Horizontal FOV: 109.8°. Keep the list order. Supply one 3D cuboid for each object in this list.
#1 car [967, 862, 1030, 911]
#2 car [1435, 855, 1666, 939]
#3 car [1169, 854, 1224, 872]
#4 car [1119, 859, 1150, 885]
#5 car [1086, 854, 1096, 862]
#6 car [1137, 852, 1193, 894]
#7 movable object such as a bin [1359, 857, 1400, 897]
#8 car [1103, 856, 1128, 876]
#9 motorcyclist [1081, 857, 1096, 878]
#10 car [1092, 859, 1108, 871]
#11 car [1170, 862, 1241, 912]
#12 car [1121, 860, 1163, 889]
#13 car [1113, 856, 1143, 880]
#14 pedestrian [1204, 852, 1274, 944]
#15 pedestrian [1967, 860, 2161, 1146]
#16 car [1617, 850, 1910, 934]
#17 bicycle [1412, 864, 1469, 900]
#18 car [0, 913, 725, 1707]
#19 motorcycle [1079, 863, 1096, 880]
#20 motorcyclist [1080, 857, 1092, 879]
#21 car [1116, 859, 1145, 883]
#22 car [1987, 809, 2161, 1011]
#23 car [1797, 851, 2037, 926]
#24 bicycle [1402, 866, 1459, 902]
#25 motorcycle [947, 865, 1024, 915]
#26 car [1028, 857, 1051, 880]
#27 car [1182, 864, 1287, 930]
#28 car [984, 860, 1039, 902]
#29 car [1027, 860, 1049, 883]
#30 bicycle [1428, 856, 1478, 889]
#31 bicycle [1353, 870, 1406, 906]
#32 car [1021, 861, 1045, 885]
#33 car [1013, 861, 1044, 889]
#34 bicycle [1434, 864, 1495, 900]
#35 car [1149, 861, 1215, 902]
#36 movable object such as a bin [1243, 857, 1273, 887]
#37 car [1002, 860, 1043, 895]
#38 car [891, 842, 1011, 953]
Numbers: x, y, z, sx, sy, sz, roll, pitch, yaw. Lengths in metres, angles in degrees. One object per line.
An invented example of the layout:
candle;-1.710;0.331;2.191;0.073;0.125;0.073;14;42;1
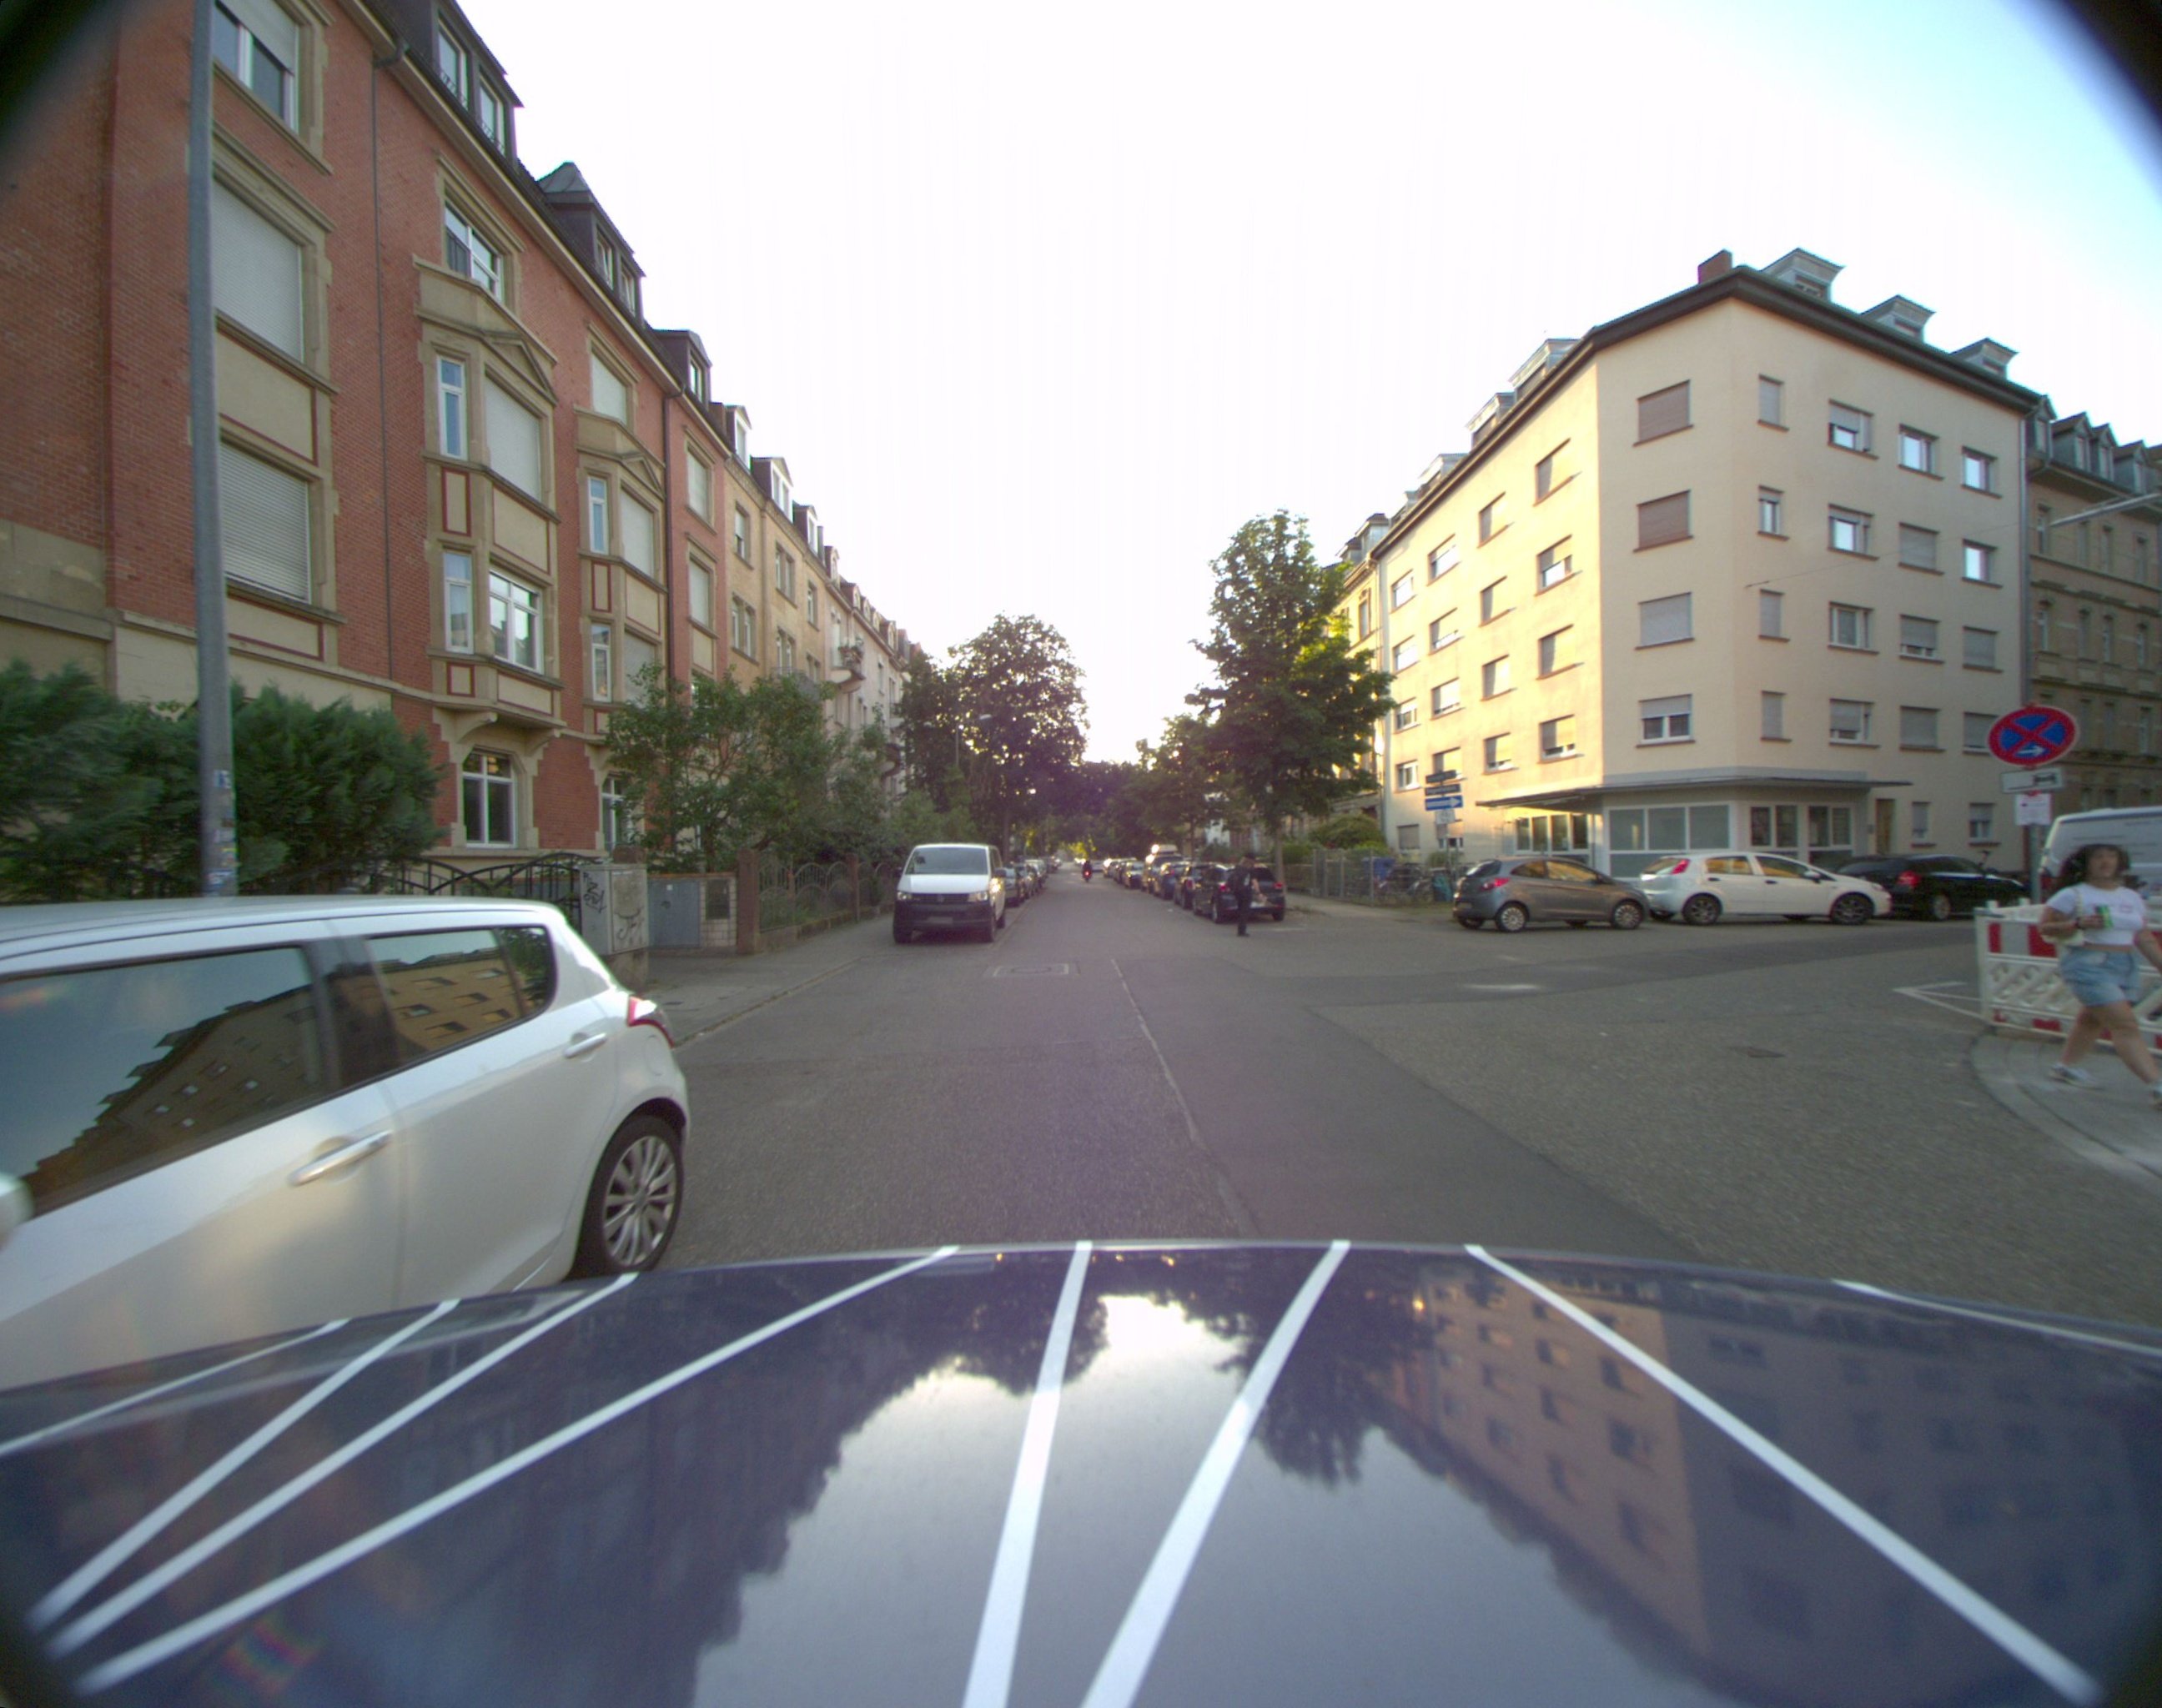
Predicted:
car;-2.919;1.105;27.718;1.724;1.542;4.325;-2;0;1
car;9.402;0.834;15.424;3.516;1.499;1.845;-2;-1;-2
car;9.839;0.776;64.982;4.413;1.333;1.625;-2;0;0
car;3.226;1.071;46.198;1.441;1.485;3.297;-2;0;-3
car;1.912;0.726;150.690;1.841;1.484;3.641;-2;0;-1
car;3.811;0.839;35.247;1.866;1.768;4.622;-2;0;-2
movable object such as a bin;10.489;0.796;26.766;0.868;1.344;1.398;-3;0;1
car;3.001;1.050;67.088;1.678;1.627;3.939;-2;0;-4
motorcyclist;0.529;0.971;54.740;0.891;1.496;0.970;2;1;9
car;2.510;1.386;100.927;1.953;1.484;3.737;-2;0;-1
car;4.012;1.011;25.088;1.746;1.412;4.142;-2;0;1
car;3.275;1.090;41.482;1.733;1.433;4.023;-2;0;-3
car;3.403;0.998;55.702;1.866;1.653;4.021;-2;0;0
pedestrian;3.155;0.854;15.169;0.960;1.712;0.889;-3;1;-40
pedestrian;6.360;0.862;4.739;0.711;1.609;0.787;-3;1;3
car;13.916;0.756;15.789;4.066;1.499;1.975;-3;0;11
bicycle;11.433;0.897;24.225;0.502;1.086;1.545;-3;0;-39
car;-2.508;1.025;1.477;1.678;1.468;3.862;-2;0;2
motorcycle;0.481;1.242;54.541;0.848;1.202;2.076;2;1;9
motorcyclist;0.352;0.960;53.982;0.789;1.531;0.546;2;1;9
car;3.248;1.096;50.157;1.682;1.489;3.625;-2;0;1
car;12.899;0.504;8.471;5.301;1.963;2.204;-1;0;-24
car;18.236;0.691;16.614;4.082;1.430;1.996;-1;-1;-18
bicycle;10.998;0.937;23.939;0.502;1.086;1.545;-3;0;-38
motorcycle;-2.972;1.082;23.647;2.099;1.473;1.130;0;1;-34
car;-3.303;1.128;60.569;1.737;1.692;4.167;-2;0;-3
car;3.938;1.040;20.261;1.679;1.453;4.462;-2;0;-3
car;-2.934;1.101;32.972;1.761;1.573;4.842;-3;0;1
car;-3.114;1.207;54.952;1.502;1.538;3.338;-2;0;-3
bicycle;13.188;0.658;26.926;1.548;1.086;0.500;-3;1;-7
bicycle;9.353;1.059;23.884;0.689;1.019;1.931;-3;0;-7
car;-3.149;1.239;50.549;1.479;1.498;3.928;-2;0;-3
car;-3.080;1.197;45.331;1.737;1.498;4.163;-2;0;-3
bicycle;12.155;0.882;24.138;0.386;1.086;1.707;-3;0;-38
car;3.921;1.046;30.243;1.866;1.404;4.589;-2;0;-2
movable object such as a bin;8.557;0.839;36.857;0.948;1.379;1.551;-3;0;-4
car;-2.846;1.120;37.469;1.590;1.516;3.602;-3;0;1
car;-2.640;0.801;16.705;1.866;2.027;5.543;0;0;-2
